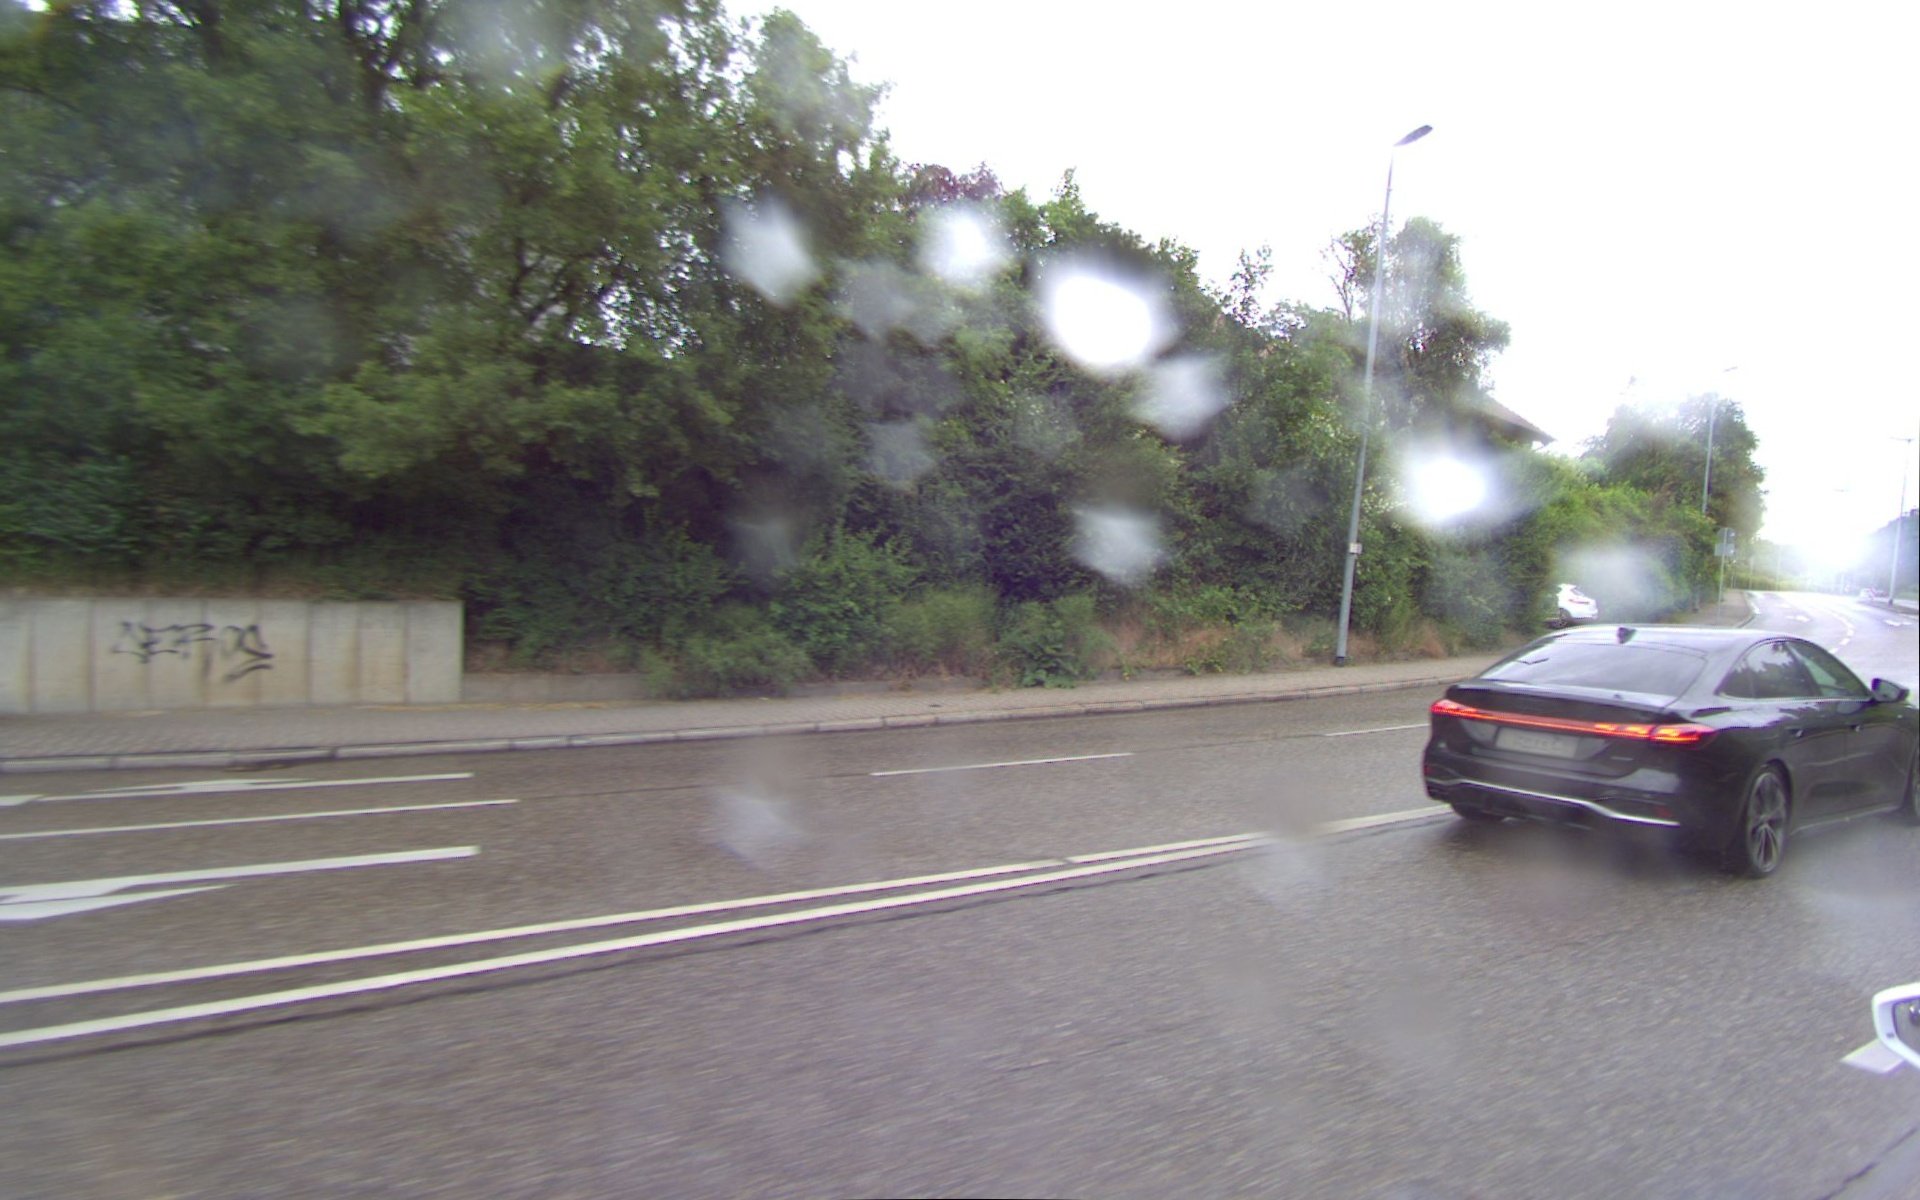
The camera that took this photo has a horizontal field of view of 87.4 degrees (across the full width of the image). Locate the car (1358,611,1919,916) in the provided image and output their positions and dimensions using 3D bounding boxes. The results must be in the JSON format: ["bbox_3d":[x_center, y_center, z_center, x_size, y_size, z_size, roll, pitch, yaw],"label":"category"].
[{"bbox_3d":[5.183,0.852,7.175,4.802,1.417,1.895,-1,2,-32],"label":"car"}]

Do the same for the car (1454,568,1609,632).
[{"bbox_3d":[18.587,-0.034,32.773,3.944,1.467,1.845,12,8,43],"label":"car"}]

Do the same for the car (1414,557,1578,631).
[{"bbox_3d":[16.608,-0.218,31.264,1.842,1.701,3.950,0,8,-43],"label":"car"}]
